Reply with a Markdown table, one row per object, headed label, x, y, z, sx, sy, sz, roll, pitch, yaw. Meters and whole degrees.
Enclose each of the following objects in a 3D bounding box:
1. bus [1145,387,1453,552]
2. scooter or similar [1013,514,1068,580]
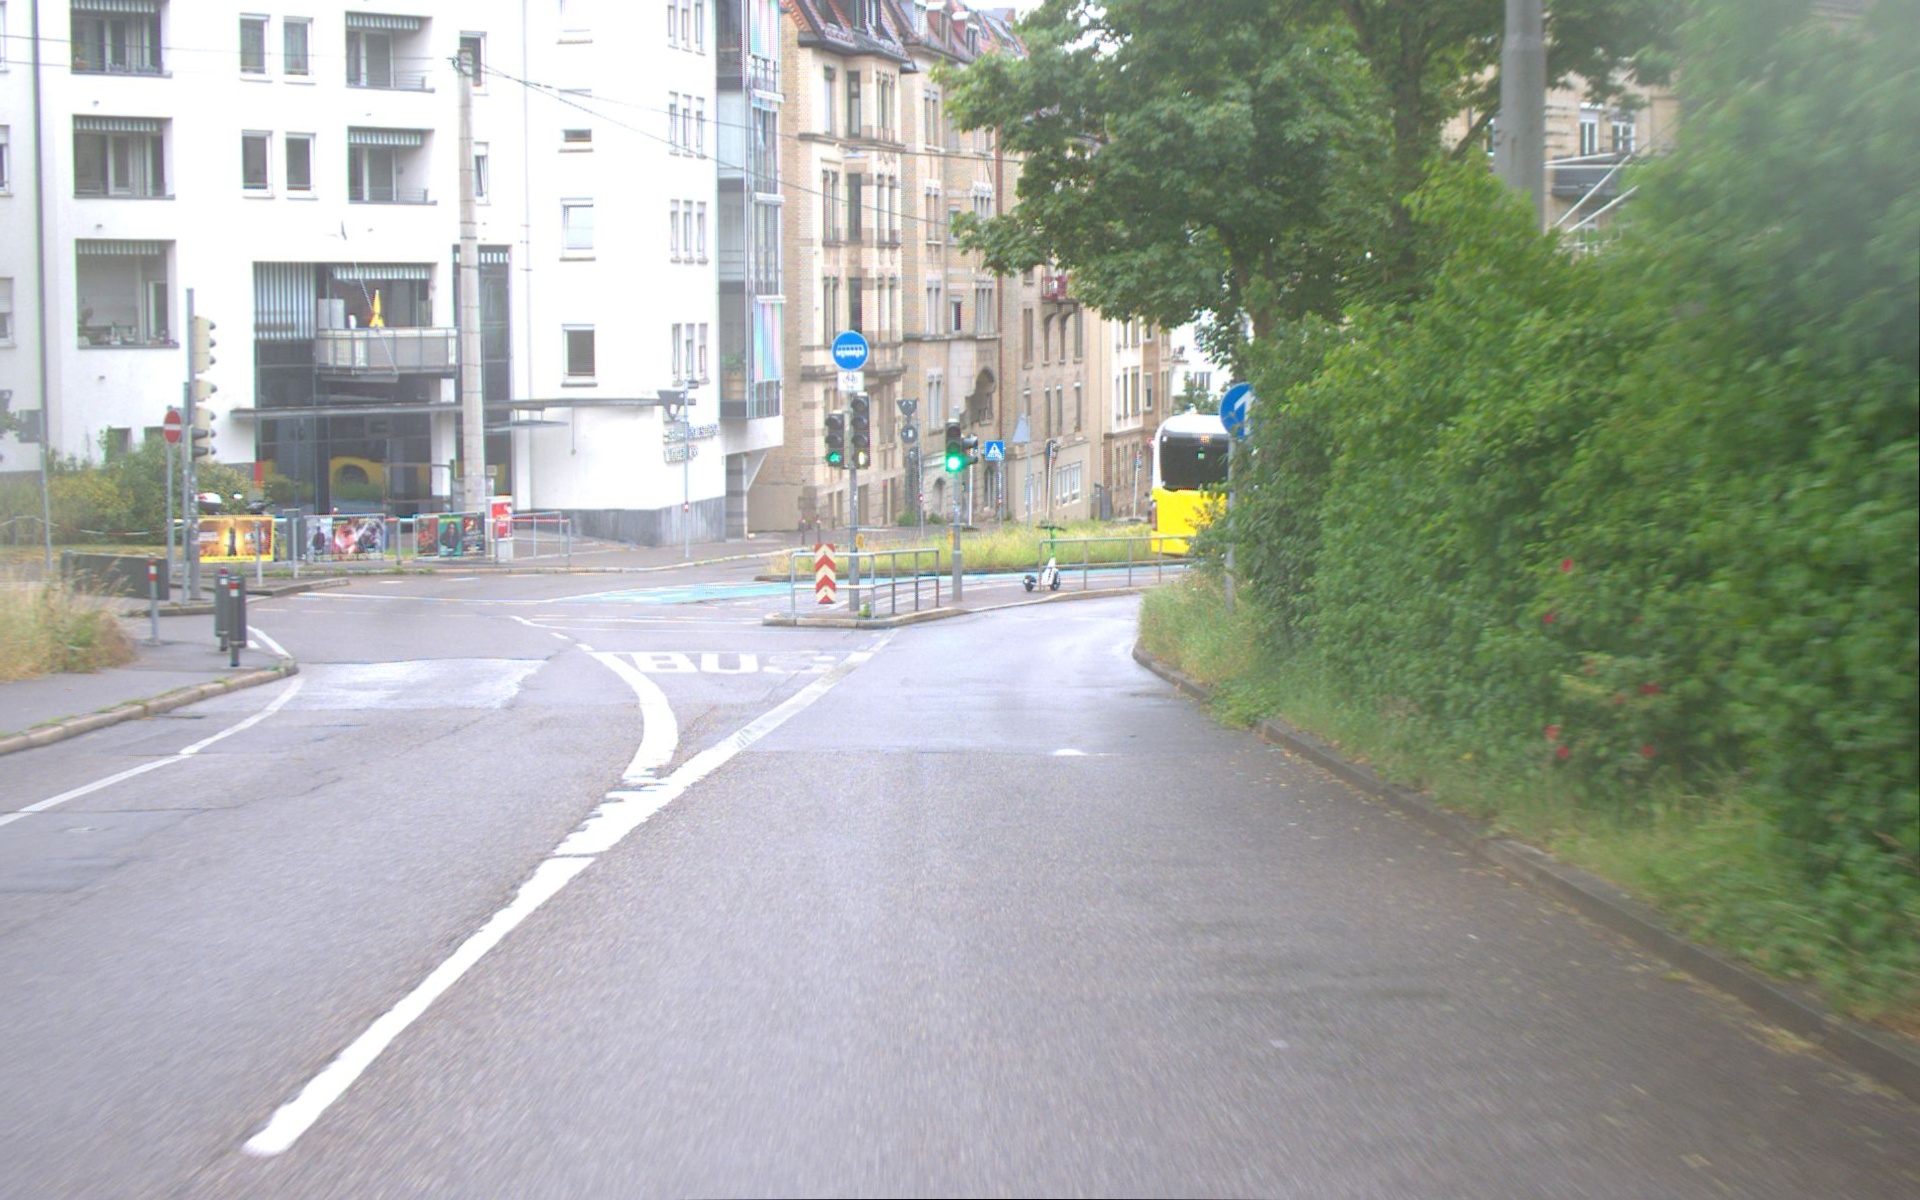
| label | x | y | z | sx | sy | sz | roll | pitch | yaw |
| --- | --- | --- | --- | --- | --- | --- | --- | --- | --- |
| bus | 7.673 | -2.850 | 76.478 | 2.596 | 3.457 | 9.089 | 2 | 2 | 35 |
| scooter or similar | 1.418 | -0.937 | 60.324 | 0.434 | 1.109 | 1.604 | 3 | 3 | 20 |
